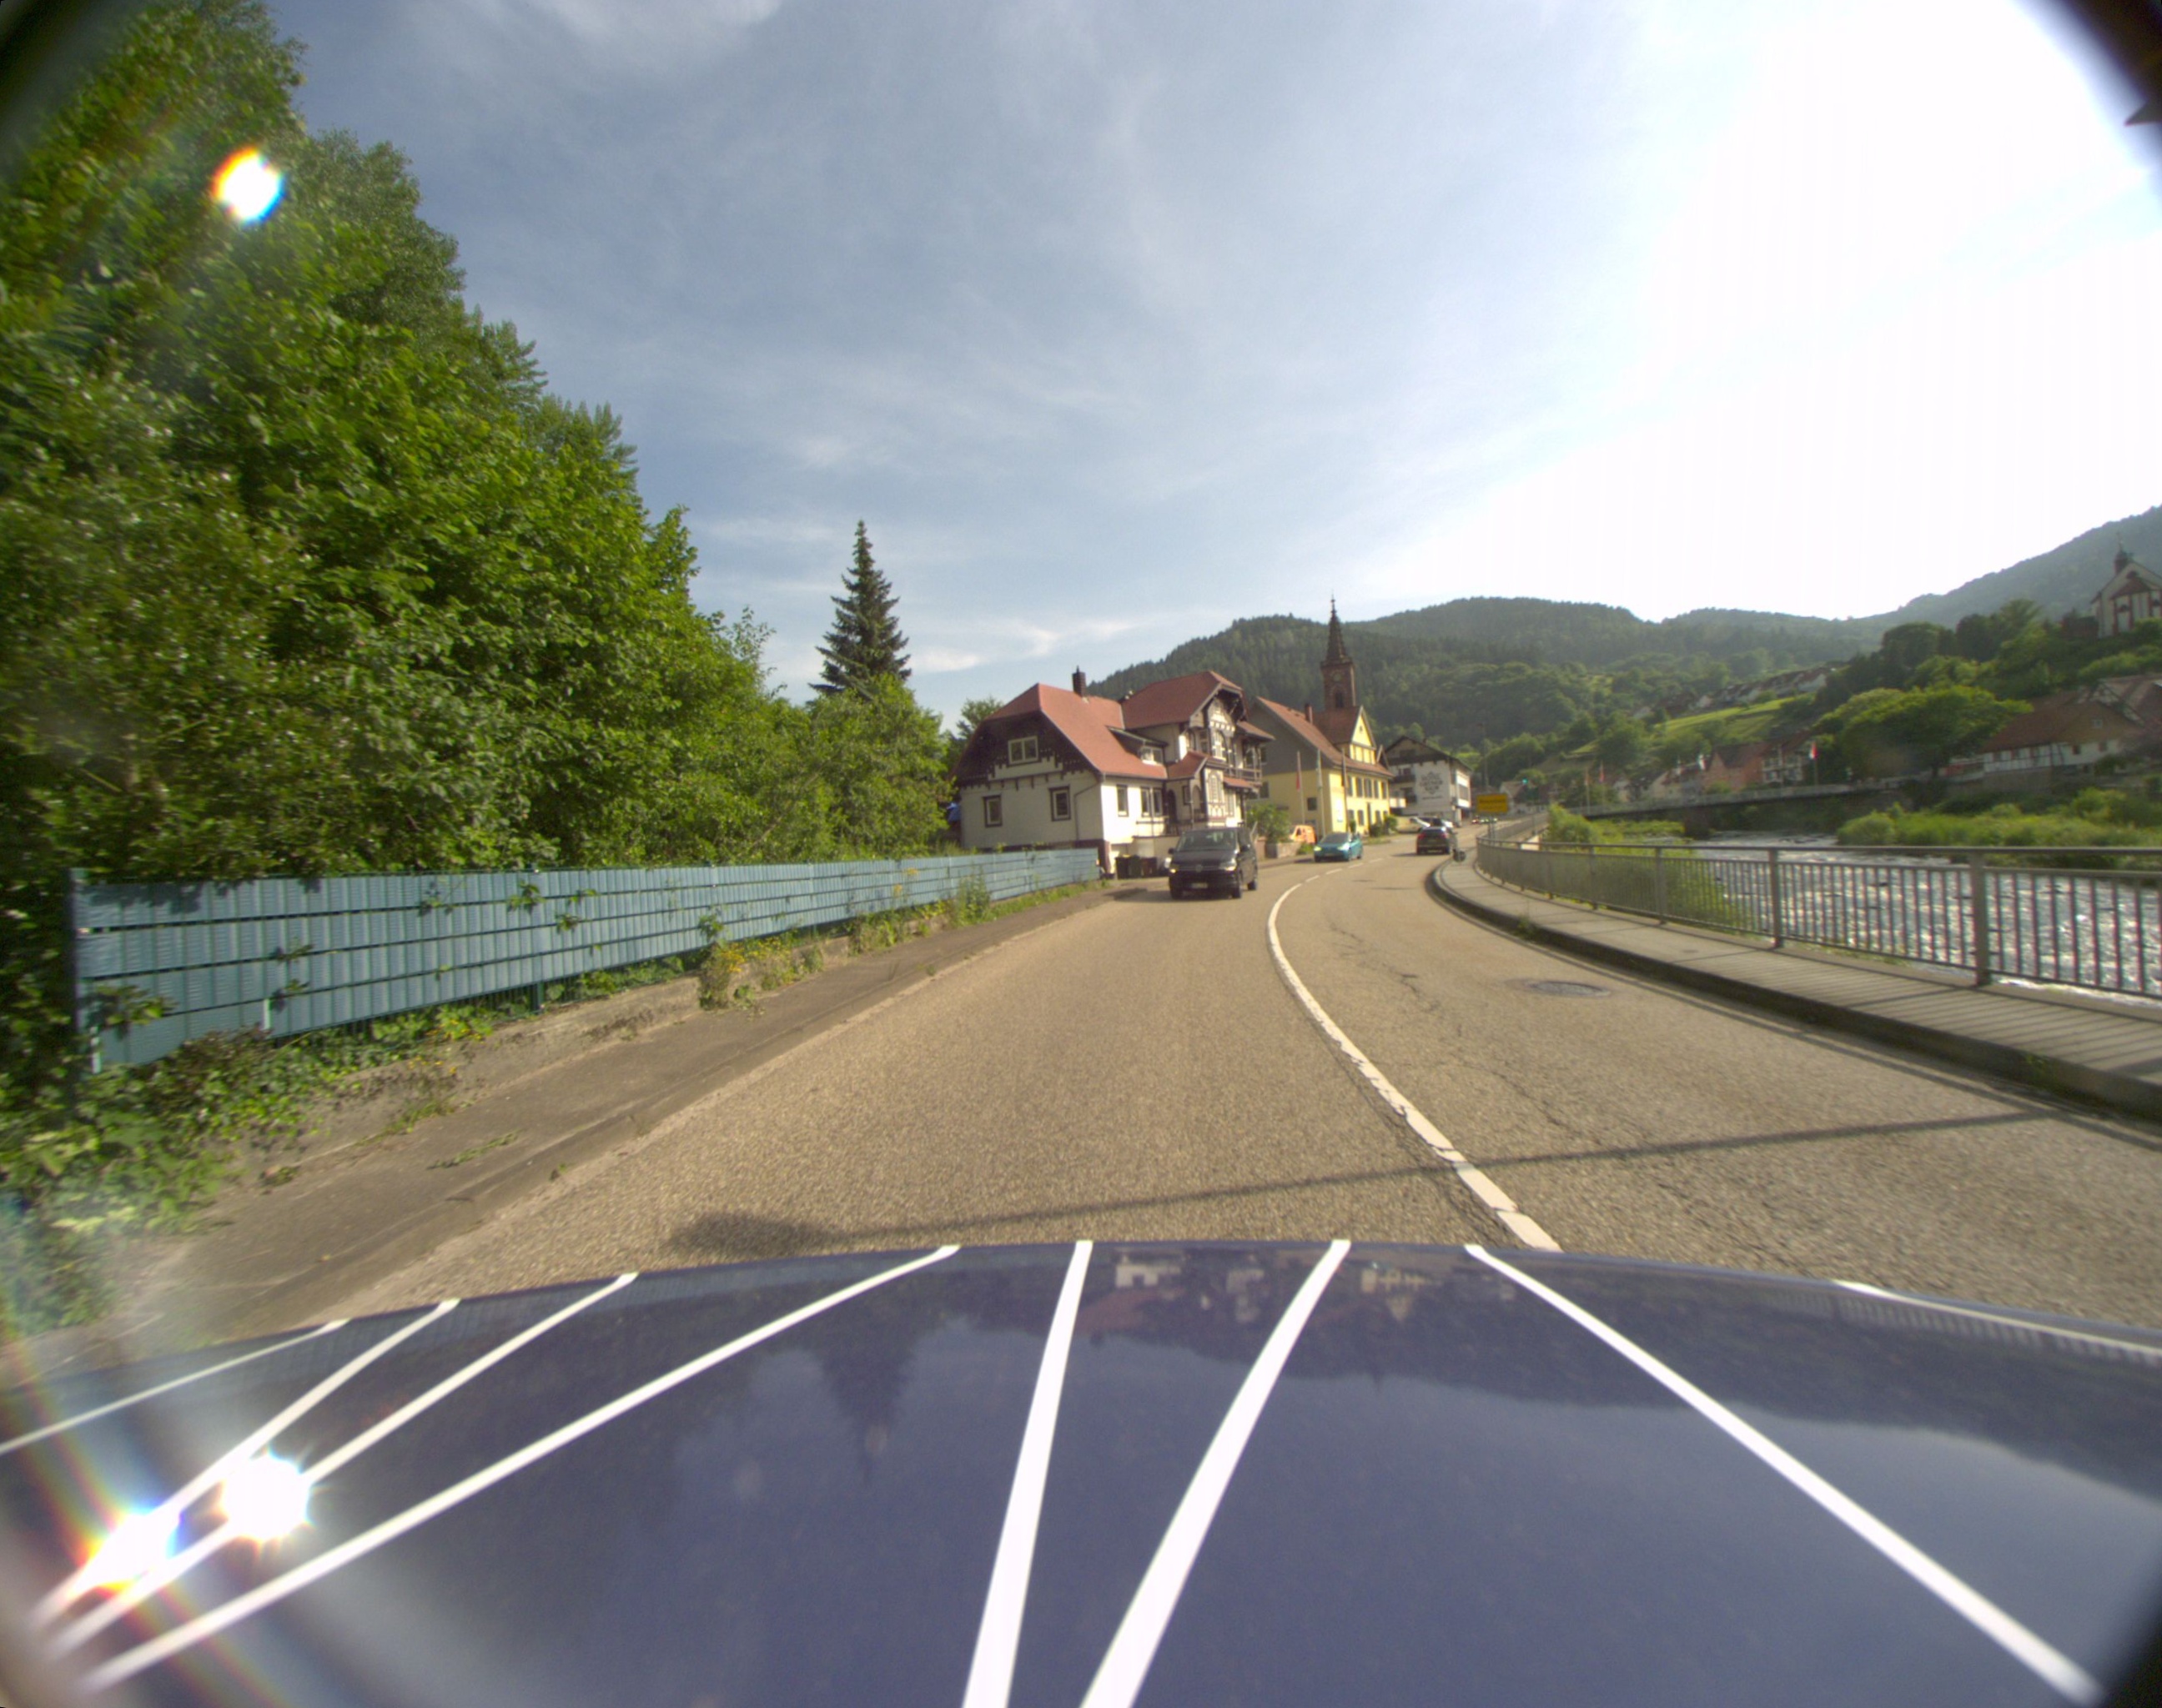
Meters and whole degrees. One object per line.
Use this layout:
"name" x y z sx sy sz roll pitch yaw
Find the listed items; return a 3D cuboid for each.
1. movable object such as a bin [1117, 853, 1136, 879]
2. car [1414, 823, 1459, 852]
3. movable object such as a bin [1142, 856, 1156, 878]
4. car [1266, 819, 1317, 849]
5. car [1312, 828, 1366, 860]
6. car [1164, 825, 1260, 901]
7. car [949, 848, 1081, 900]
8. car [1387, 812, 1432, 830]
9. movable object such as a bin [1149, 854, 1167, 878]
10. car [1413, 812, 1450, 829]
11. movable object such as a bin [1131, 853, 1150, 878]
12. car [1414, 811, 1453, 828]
"movable object such as a bin" 2.019 0.526 33.376 0.477 1.056 0.754 -4 1 30
"car" 20.838 -1.007 44.454 1.816 1.634 4.007 1 3 33
"movable object such as a bin" 2.958 0.555 32.932 0.368 0.895 0.548 -4 1 24
"car" 14.647 -1.460 52.699 1.909 1.987 4.843 2 3 35
"car" 13.834 -0.564 40.591 1.679 1.513 3.872 -1 3 35
"car" 3.914 0.170 21.898 1.885 1.953 4.871 0 2 20
"car" -2.294 0.682 26.563 4.328 1.460 1.837 -3 0 -6
"car" 38.201 -3.850 88.369 4.443 1.948 1.716 3 5 36
"movable object such as a bin" 3.286 0.510 32.520 0.472 0.931 0.653 -4 1 30
"car" 41.280 -3.968 89.552 3.747 1.883 1.374 2 5 36
"movable object such as a bin" 2.589 0.494 33.207 0.477 1.056 0.754 -4 1 30
"car" 42.621 -4.158 91.810 3.988 1.871 1.688 0 3 37
